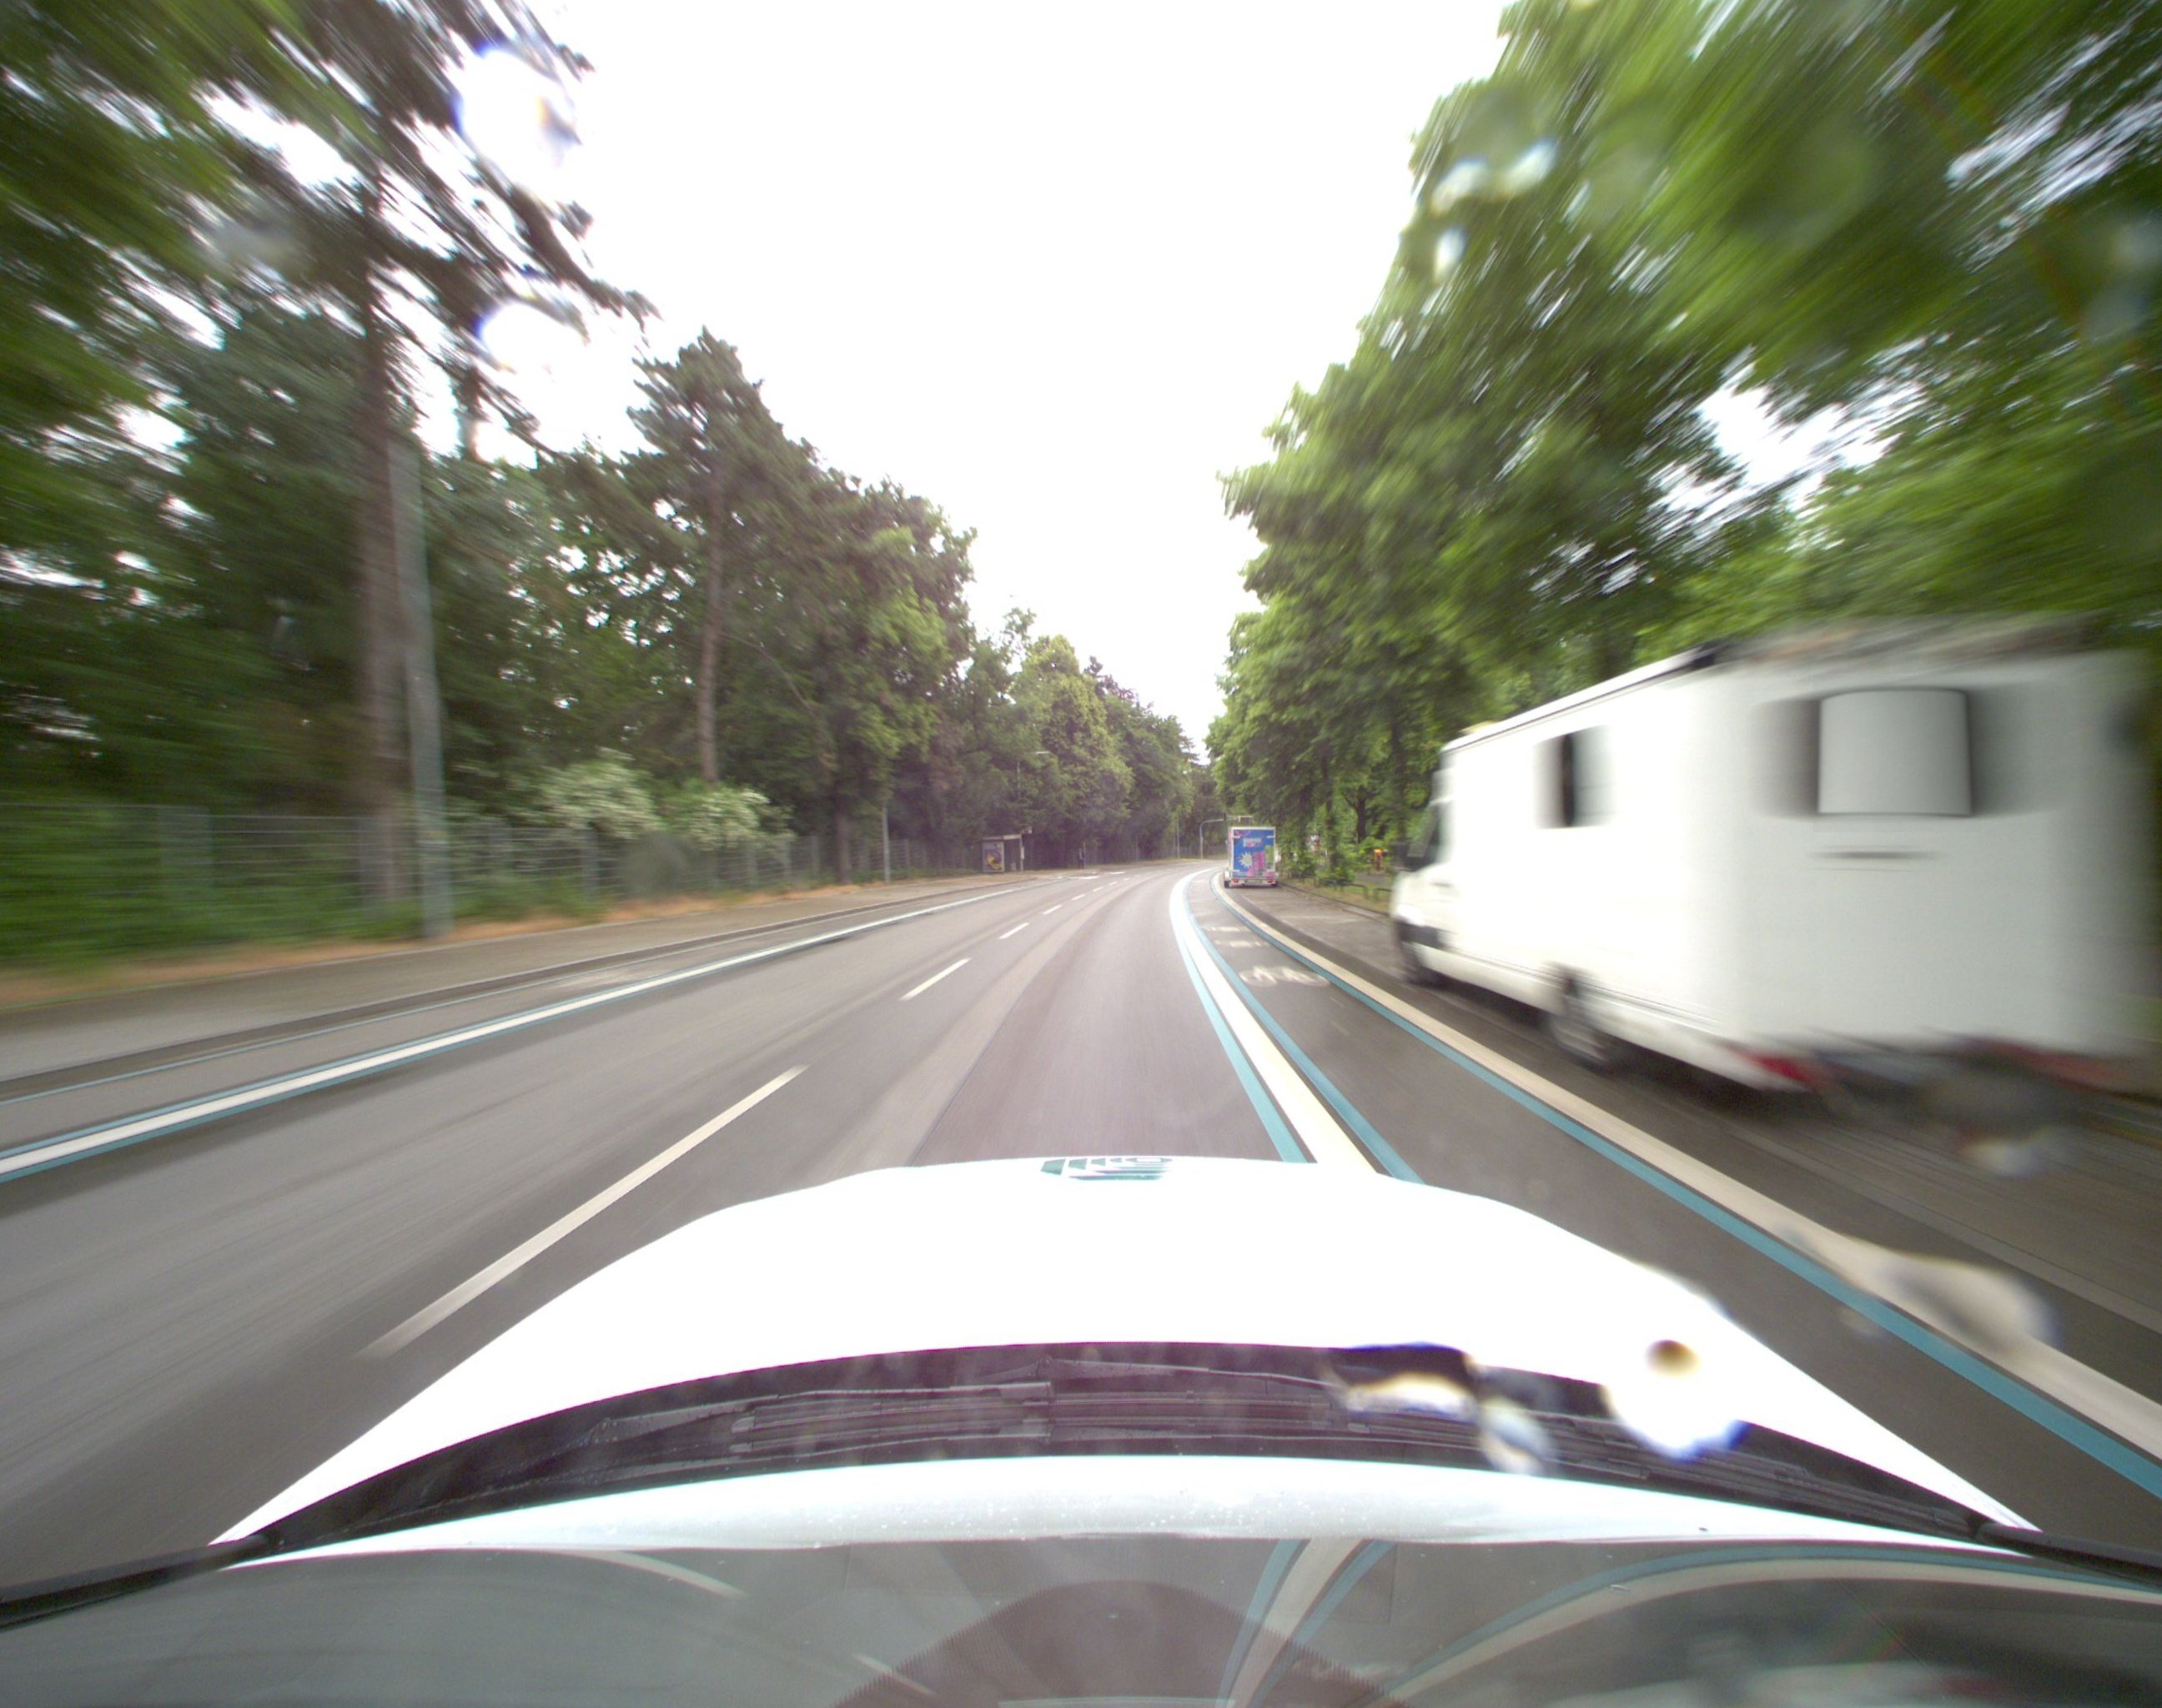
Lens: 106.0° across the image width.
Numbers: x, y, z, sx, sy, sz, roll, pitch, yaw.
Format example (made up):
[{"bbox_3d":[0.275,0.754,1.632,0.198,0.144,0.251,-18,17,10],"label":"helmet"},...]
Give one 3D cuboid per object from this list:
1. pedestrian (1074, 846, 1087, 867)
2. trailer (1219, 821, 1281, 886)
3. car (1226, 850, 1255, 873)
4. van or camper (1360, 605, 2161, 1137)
[{"bbox_3d":[-0.024,0.216,69.016,0.882,1.733,1.149,-1,0,8],"label":"pedestrian"},{"bbox_3d":[7.440,-0.025,36.284,2.303,2.672,5.388,-1,0,8],"label":"trailer"},{"bbox_3d":[10.902,0.486,55.457,1.847,1.428,4.666,0,0,13],"label":"car"},{"bbox_3d":[4.522,0.080,7.337,2.306,2.664,6.391,-1,0,5],"label":"van or camper"}]
